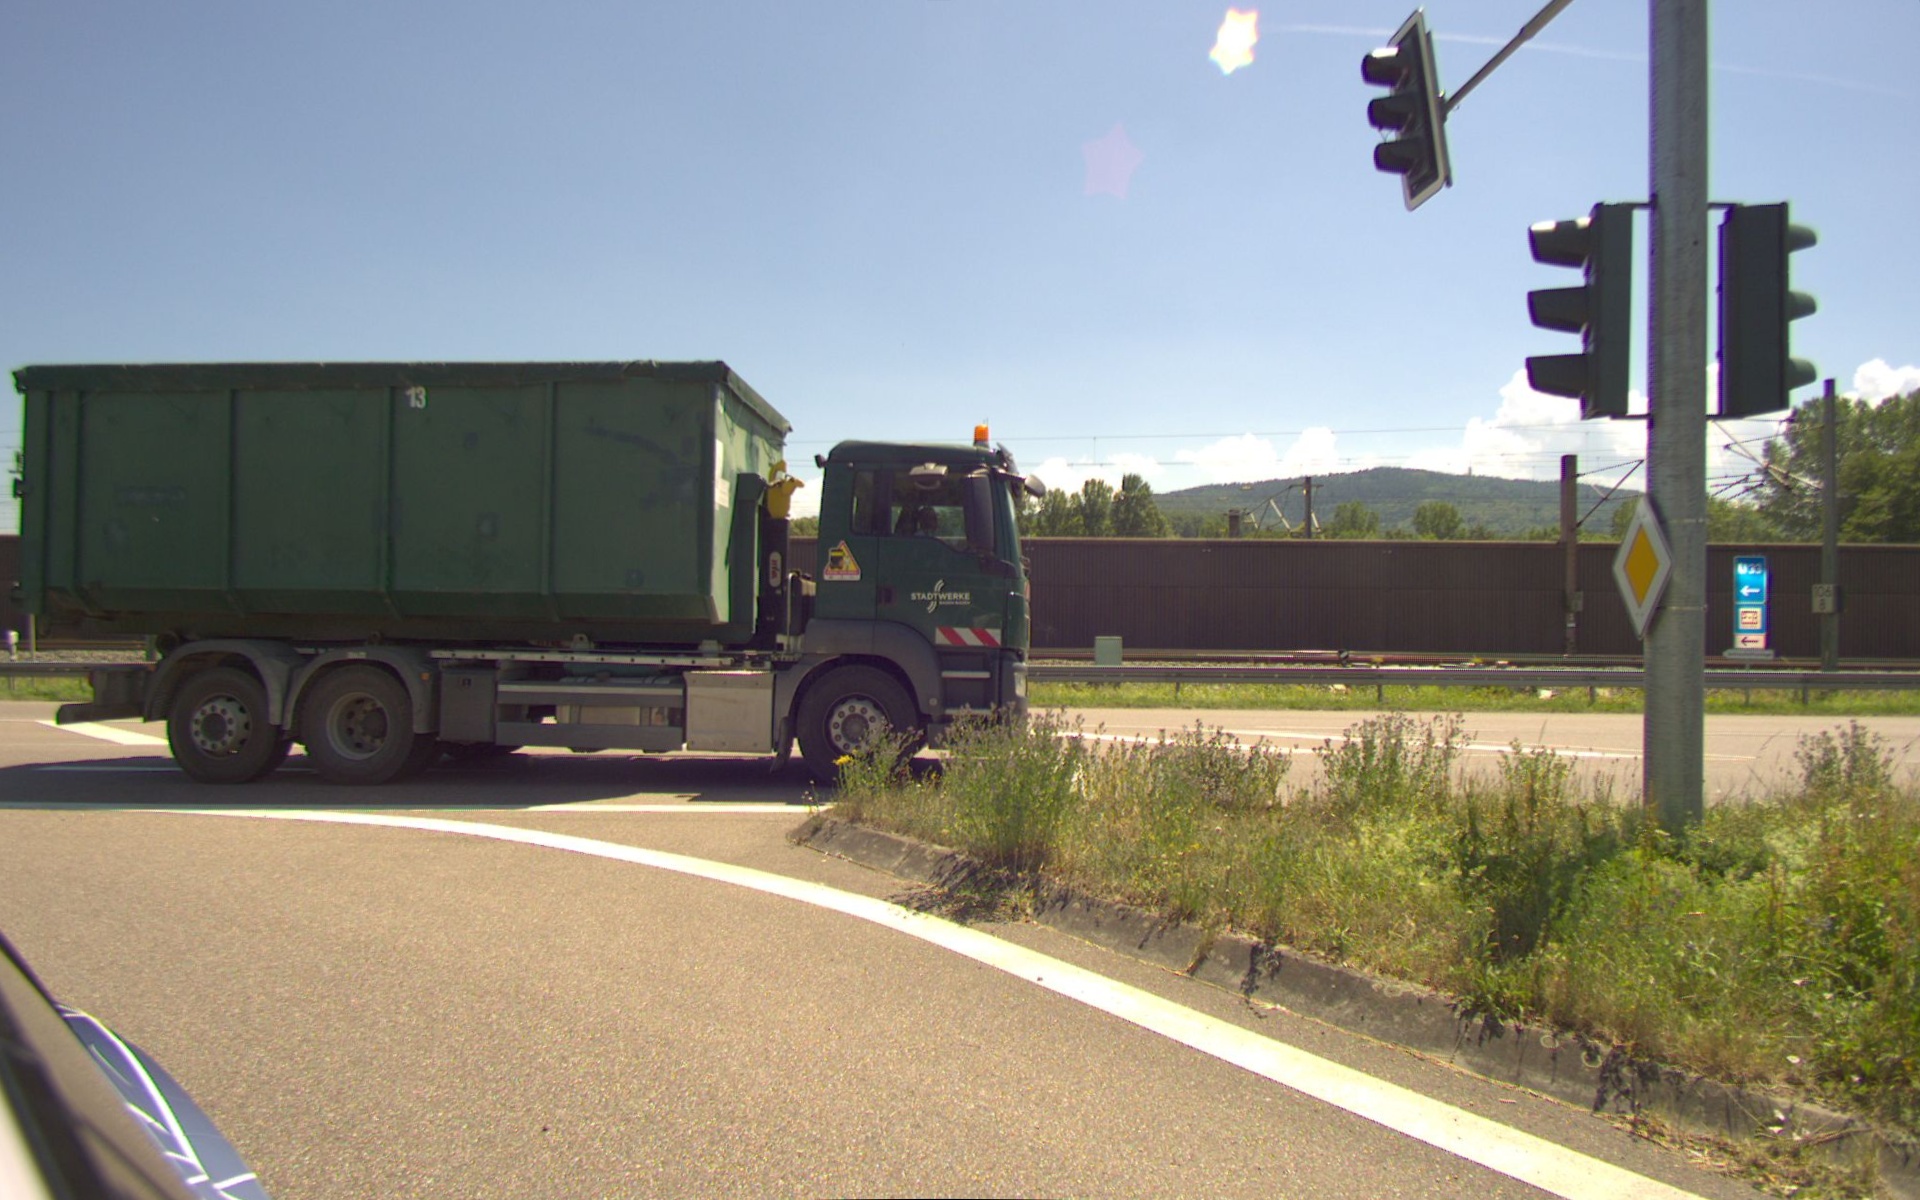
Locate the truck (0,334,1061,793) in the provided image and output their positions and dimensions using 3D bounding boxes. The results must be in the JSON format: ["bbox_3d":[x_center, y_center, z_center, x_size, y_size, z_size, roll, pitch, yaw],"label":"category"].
[{"bbox_3d":[-3.815,-0.248,9.952,9.451,3.766,2.595,0,-2,4],"label":"truck"}]
